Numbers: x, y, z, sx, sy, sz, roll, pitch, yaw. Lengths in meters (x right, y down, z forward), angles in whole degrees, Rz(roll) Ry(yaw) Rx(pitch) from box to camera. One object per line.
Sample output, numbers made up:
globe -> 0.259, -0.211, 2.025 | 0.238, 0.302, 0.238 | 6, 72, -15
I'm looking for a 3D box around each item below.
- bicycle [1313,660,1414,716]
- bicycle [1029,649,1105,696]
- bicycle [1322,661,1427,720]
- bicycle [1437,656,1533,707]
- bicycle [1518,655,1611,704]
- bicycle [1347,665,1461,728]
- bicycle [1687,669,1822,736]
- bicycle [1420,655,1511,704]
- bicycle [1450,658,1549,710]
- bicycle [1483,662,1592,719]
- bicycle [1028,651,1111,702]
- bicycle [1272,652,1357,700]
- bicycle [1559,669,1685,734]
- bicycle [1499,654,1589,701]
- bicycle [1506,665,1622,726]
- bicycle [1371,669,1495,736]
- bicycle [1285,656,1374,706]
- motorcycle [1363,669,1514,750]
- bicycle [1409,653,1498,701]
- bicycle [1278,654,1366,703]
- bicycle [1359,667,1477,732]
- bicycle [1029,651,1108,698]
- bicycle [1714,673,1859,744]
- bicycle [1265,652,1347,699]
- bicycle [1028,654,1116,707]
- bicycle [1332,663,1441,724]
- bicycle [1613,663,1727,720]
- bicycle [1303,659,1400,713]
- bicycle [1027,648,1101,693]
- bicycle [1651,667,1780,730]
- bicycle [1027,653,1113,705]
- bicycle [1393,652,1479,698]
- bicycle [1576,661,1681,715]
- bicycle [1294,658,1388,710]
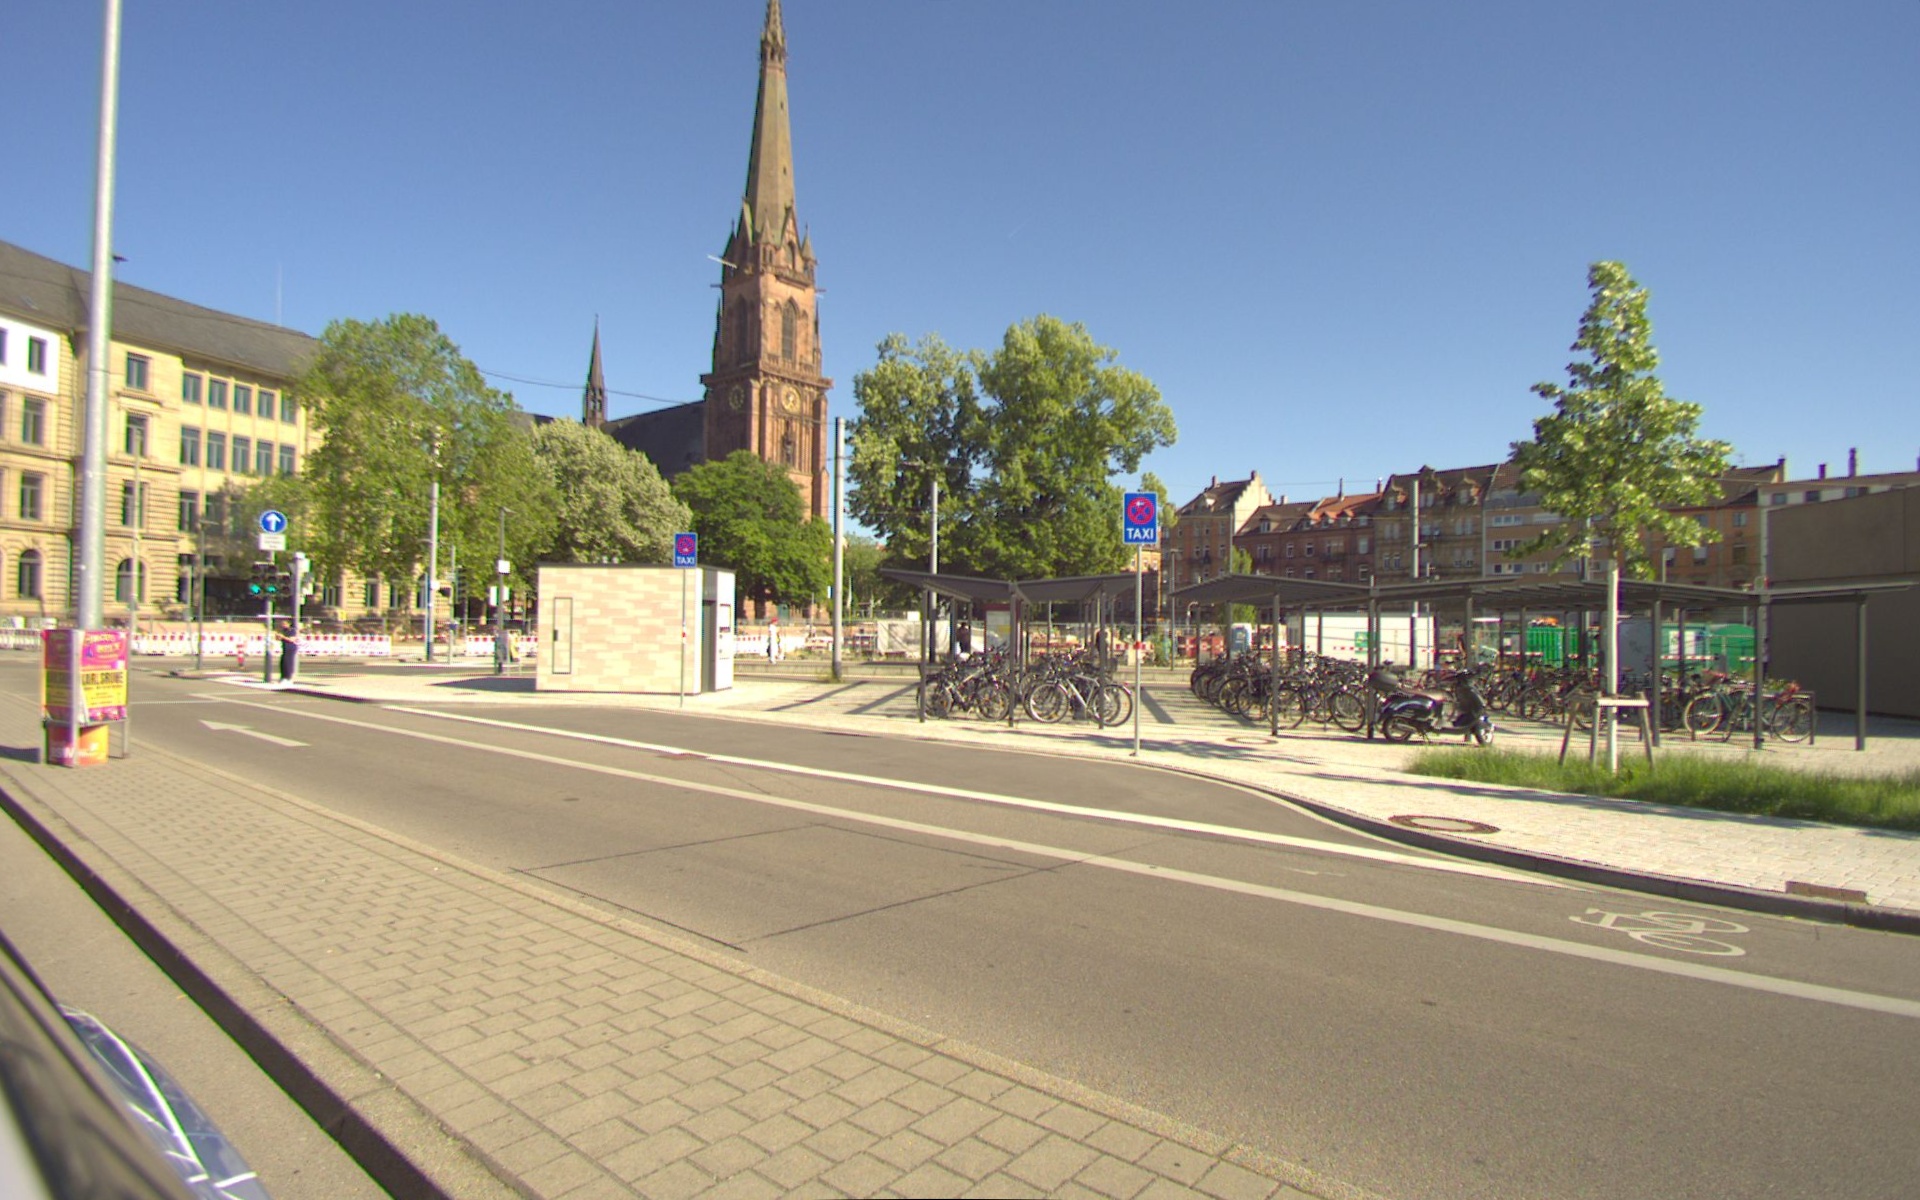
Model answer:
bicycle -> 8.024, 1.748, 20.175 | 1.765, 1.046, 0.567 | 1, -3, 4
bicycle -> 2.541, 1.721, 24.186 | 1.765, 1.046, 0.567 | 1, -3, 4
bicycle -> 7.965, 1.731, 19.488 | 1.765, 1.046, 0.567 | 1, -3, 4
bicycle -> 11.438, 1.779, 22.095 | 1.765, 1.046, 0.567 | 1, -3, 4
bicycle -> 13.890, 1.818, 23.280 | 1.765, 1.046, 0.567 | 1, -3, 4
bicycle -> 7.923, 1.708, 18.107 | 1.765, 1.046, 0.567 | 1, -3, 4
bicycle -> 13.391, 1.725, 17.089 | 1.765, 1.046, 0.567 | 1, -3, 4
bicycle -> 11.416, 1.793, 22.888 | 1.765, 1.046, 0.567 | 1, -3, 4
bicycle -> 11.377, 1.764, 21.378 | 1.765, 1.046, 0.567 | 1, -3, 4
bicycle -> 11.291, 1.766, 19.829 | 1.765, 1.046, 0.567 | 1, -3, 4
bicycle -> 2.397, 1.675, 22.233 | 1.765, 1.046, 0.567 | 1, -3, 4
bicycle -> 8.246, 1.758, 23.604 | 1.765, 1.046, 0.567 | 1, -3, 4
bicycle -> 11.457, 1.754, 17.541 | 1.765, 1.046, 0.567 | 1, -3, 4
bicycle -> 13.836, 1.818, 23.995 | 1.765, 1.046, 0.567 | 1, -3, 4
bicycle -> 11.216, 1.767, 18.832 | 1.765, 1.046, 0.567 | 1, -3, 4
bicycle -> 7.855, 1.693, 16.841 | 1.765, 1.046, 0.567 | 1, -3, 4
bicycle -> 8.153, 1.786, 22.367 | 1.765, 1.046, 0.567 | 1, -3, 4
motorcycle -> 7.174, 1.627, 15.242 | 1.962, 1.128, 0.593 | 0, -2, 8
bicycle -> 11.449, 1.787, 23.509 | 1.765, 1.046, 0.567 | 1, -3, 4
bicycle -> 8.202, 1.778, 22.969 | 1.765, 1.046, 0.567 | 1, -3, 4
bicycle -> 7.897, 1.714, 17.504 | 1.765, 1.046, 0.567 | 1, -3, 4
bicycle -> 2.516, 1.727, 23.558 | 1.765, 1.046, 0.567 | 1, -3, 4
bicycle -> 13.164, 1.719, 16.154 | 1.765, 1.046, 0.567 | 1, -3, 4
bicycle -> 8.275, 1.797, 24.240 | 1.765, 1.046, 0.567 | 1, -3, 4
bicycle -> 2.306, 1.660, 20.995 | 1.765, 1.046, 0.567 | 1, -3, 4
bicycle -> 7.933, 1.732, 18.851 | 1.765, 1.046, 0.567 | 1, -3, 4
bicycle -> 13.801, 1.772, 19.710 | 1.765, 1.046, 0.567 | 1, -3, 4
bicycle -> 8.067, 1.769, 20.885 | 1.765, 1.046, 0.567 | 1, -3, 4
bicycle -> 2.533, 1.718, 24.818 | 1.765, 1.046, 0.567 | 1, -3, 4
bicycle -> 13.597, 1.753, 18.254 | 1.769, 1.046, 0.566 | 1, -3, 12
bicycle -> 2.334, 1.676, 21.633 | 1.765, 1.046, 0.567 | 1, -3, 4
bicycle -> 11.381, 1.784, 24.223 | 1.765, 1.046, 0.567 | 1, -3, 4
bicycle -> 13.848, 1.819, 20.994 | 1.765, 1.046, 0.567 | 1, -3, 4
bicycle -> 8.117, 1.782, 21.603 | 1.765, 1.046, 0.567 | 1, -3, 4
